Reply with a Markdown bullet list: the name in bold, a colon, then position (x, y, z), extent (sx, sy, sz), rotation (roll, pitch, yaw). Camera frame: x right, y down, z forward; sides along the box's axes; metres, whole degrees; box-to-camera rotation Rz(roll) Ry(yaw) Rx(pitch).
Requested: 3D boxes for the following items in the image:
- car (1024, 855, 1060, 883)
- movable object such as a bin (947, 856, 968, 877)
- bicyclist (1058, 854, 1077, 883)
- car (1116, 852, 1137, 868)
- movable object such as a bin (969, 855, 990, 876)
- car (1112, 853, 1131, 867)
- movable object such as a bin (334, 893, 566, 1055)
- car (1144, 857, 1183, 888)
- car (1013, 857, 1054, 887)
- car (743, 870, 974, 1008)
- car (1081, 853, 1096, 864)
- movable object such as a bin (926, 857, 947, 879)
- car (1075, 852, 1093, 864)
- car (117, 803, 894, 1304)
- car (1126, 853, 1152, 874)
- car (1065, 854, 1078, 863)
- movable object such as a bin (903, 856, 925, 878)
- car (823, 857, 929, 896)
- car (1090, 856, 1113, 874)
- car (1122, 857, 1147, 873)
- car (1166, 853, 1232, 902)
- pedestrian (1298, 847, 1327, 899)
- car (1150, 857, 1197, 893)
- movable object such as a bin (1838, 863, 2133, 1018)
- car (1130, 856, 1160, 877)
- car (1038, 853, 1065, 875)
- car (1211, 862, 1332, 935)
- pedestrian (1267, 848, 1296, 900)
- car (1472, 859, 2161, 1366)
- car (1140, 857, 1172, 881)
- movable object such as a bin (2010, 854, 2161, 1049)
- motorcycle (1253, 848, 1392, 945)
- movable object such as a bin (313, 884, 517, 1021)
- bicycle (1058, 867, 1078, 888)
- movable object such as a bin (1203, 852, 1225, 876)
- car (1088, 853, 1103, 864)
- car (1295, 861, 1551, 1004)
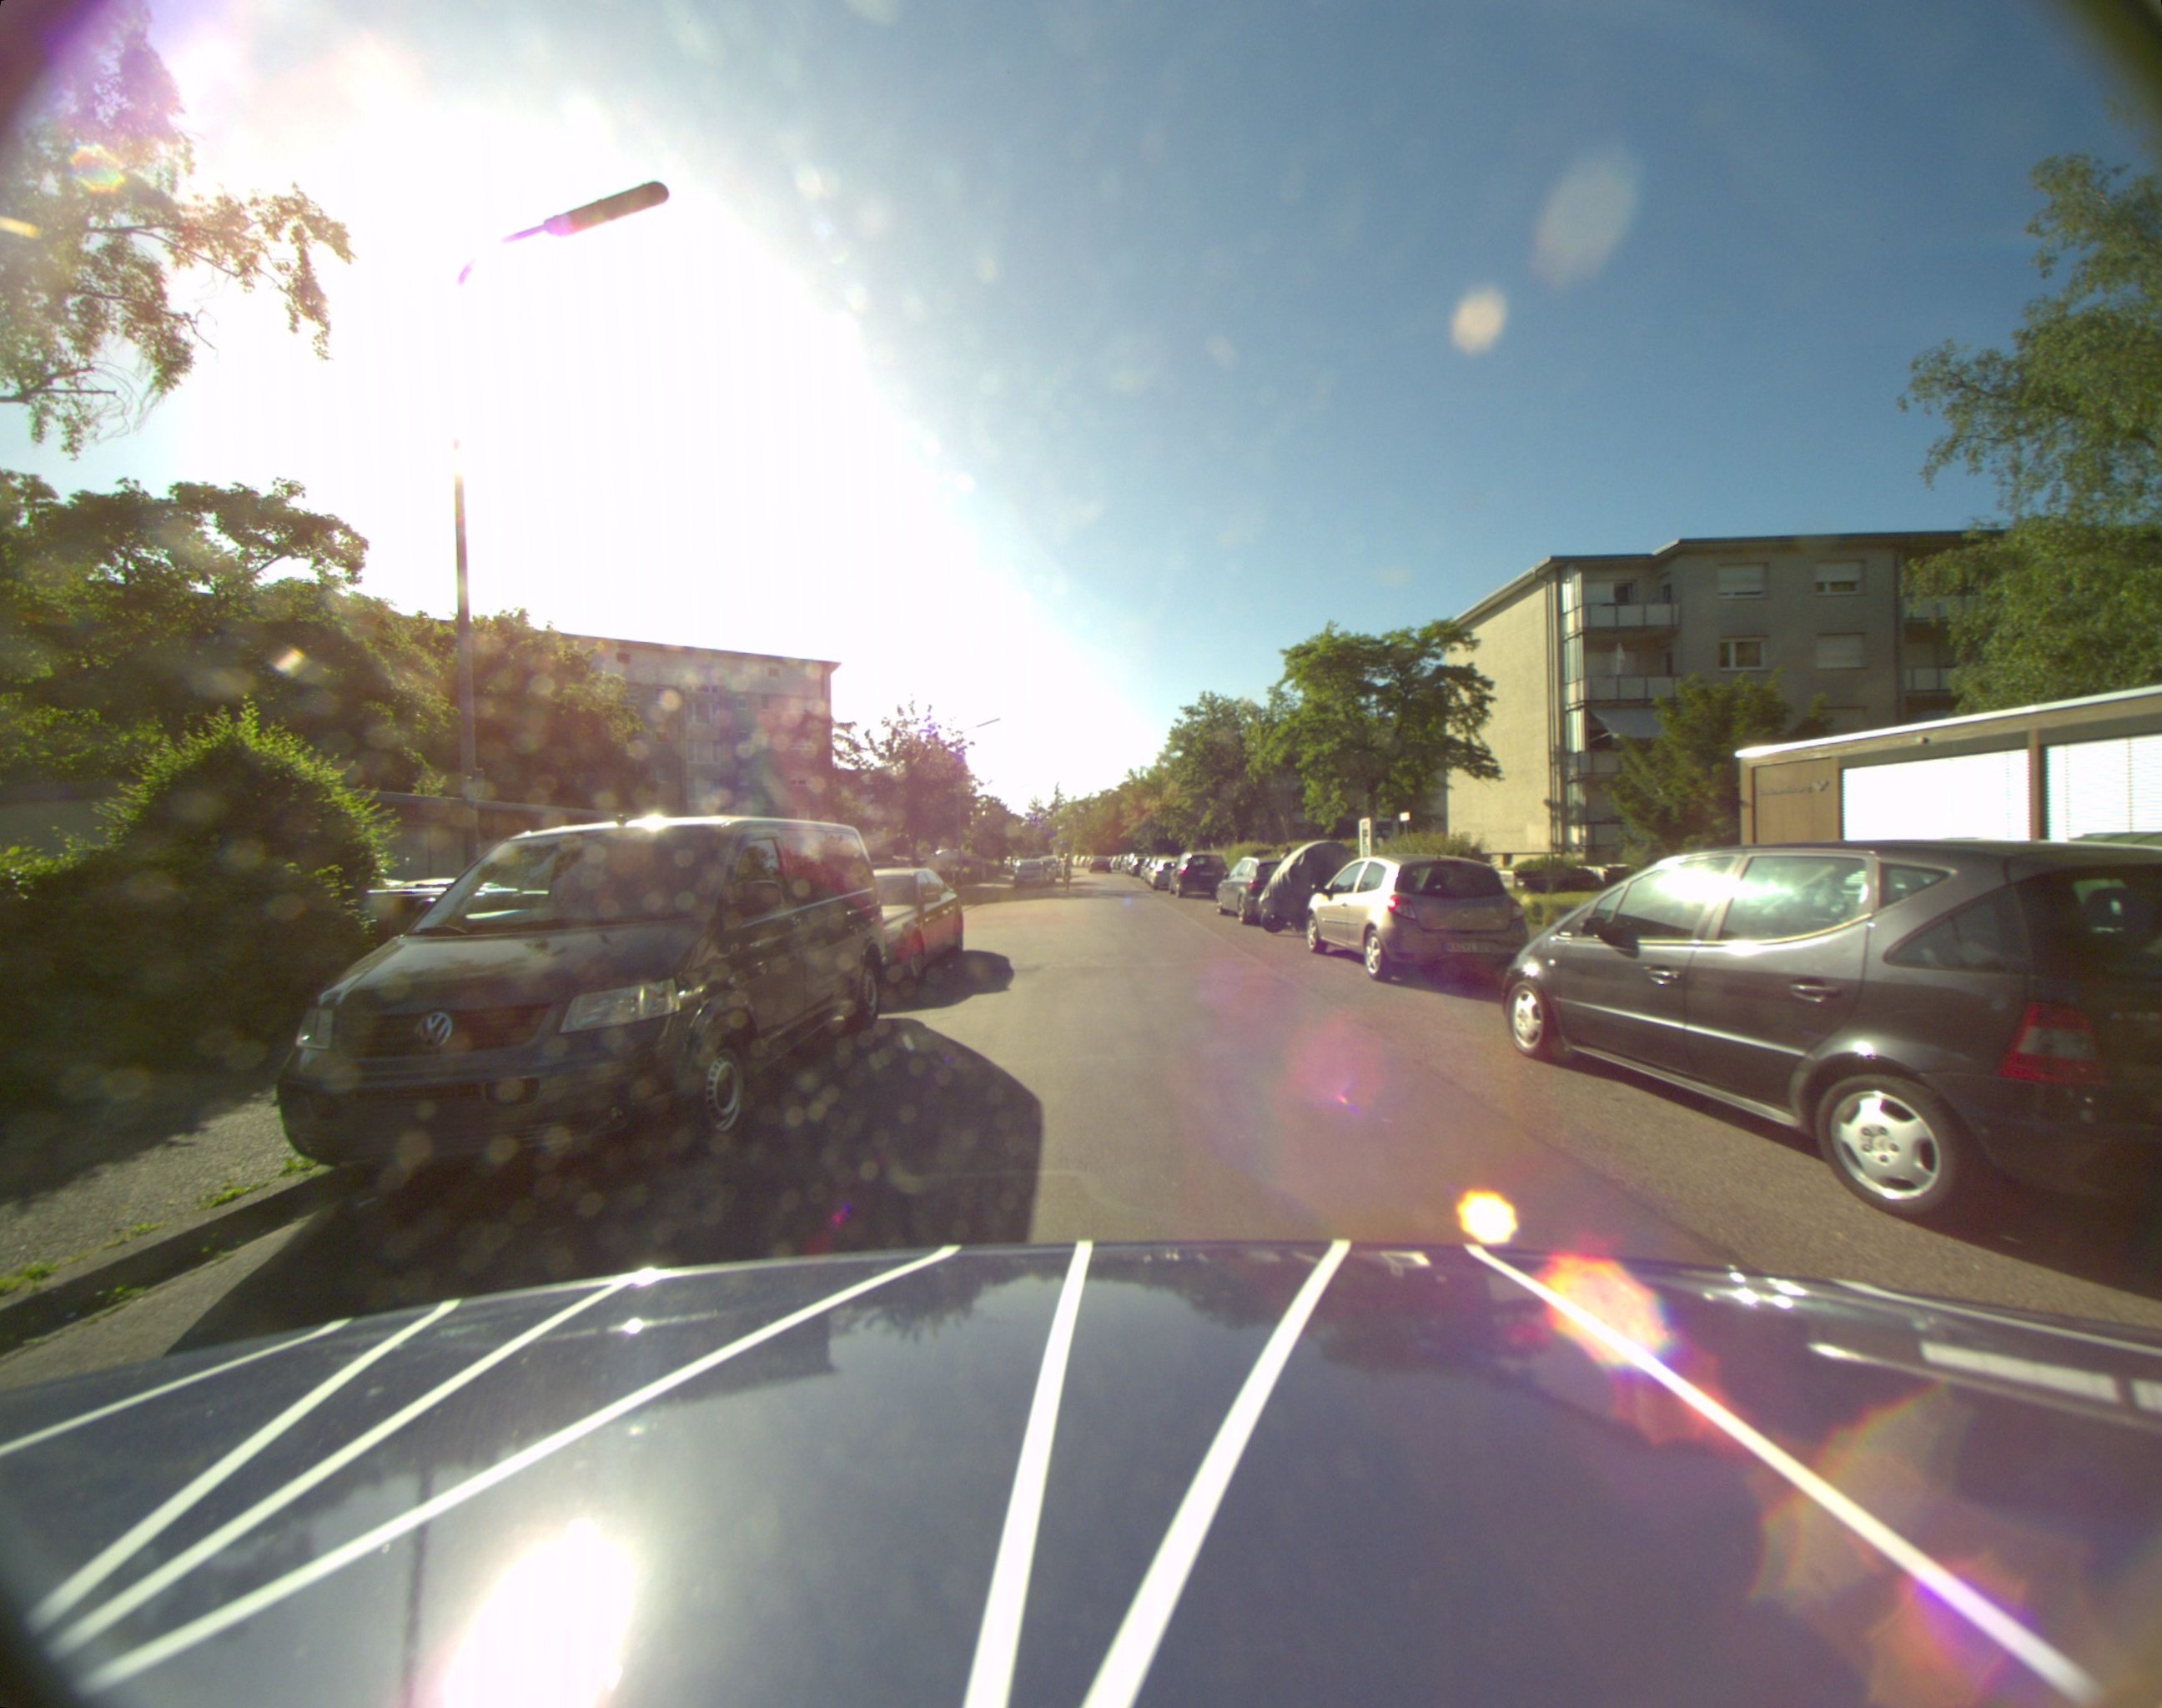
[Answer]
- **car**: position (-2.359, 0.882, 46.904), extent (1.835, 1.537, 4.641), rotation (-2, 0, 2)
- **movable object such as a bin**: position (-8.621, 0.872, 53.019), extent (1.328, 1.423, 1.029), rotation (-2, 0, -5)
- **bicyclist**: position (-0.638, 0.665, 36.283), extent (0.812, 1.348, 1.091), rotation (-2, 0, 2)
- **car**: position (4.672, 0.599, 78.370), extent (1.811, 1.596, 4.431), rotation (0, 0, -2)
- **movable object such as a bin**: position (-7.071, 0.773, 52.995), extent (1.328, 1.419, 1.069), rotation (1, 0, -5)
- **car**: position (4.490, 0.643, 85.480), extent (1.811, 1.470, 3.939), rotation (0, 0, -2)
- **movable object such as a bin**: position (-6.064, 1.089, 7.406), extent (1.028, 1.302, 1.388), rotation (2, 1, 11)
- **car**: position (4.334, 0.940, 40.547), extent (1.758, 1.481, 4.901), rotation (1, 0, 2)
- **car**: position (-2.556, 0.924, 41.569), extent (1.809, 1.486, 3.795), rotation (-2, 0, 2)
- **car**: position (-2.902, 1.031, 11.098), extent (1.805, 1.410, 4.636), rotation (-2, 0, 2)
- **car**: position (1.107, 0.669, 115.490), extent (1.659, 1.621, 3.688), rotation (0, 0, -8)
- **movable object such as a bin**: position (-10.049, 0.966, 52.844), extent (1.328, 1.528, 1.029), rotation (-2, 1, -5)
- **car**: position (0.450, 0.623, 120.872), extent (1.886, 1.857, 5.434), rotation (0, 0, -10)
- **car**: position (-2.878, 0.793, 5.404), extent (1.857, 1.923, 4.704), rotation (-3, 0, 0)
- **car**: position (4.655, 0.734, 61.420), extent (1.759, 1.659, 4.390), rotation (0, 0, 0)
- **car**: position (-1.592, 0.710, 132.788), extent (1.659, 1.558, 3.687), rotation (0, 0, -11)
- **movable object such as a bin**: position (-11.540, 0.904, 52.653), extent (1.326, 1.472, 1.029), rotation (-2, 1, -5)
- **car**: position (-9.017, 0.974, 33.660), extent (4.194, 1.486, 1.817), rotation (-2, 0, -2)
- **car**: position (1.751, 0.943, 67.653), extent (1.915, 1.468, 4.570), rotation (-1, 0, 0)
- **car**: position (4.670, 0.952, 66.864), extent (1.642, 1.377, 4.169), rotation (0, 0, -3)
- **car**: position (4.269, 0.807, 28.067), extent (1.758, 1.626, 4.370), rotation (1, 0, 0)
- **pedestrian**: position (7.499, 0.607, 24.647), extent (0.722, 1.669, 0.600), rotation (-2, 1, 0)
- **car**: position (4.108, 0.904, 34.393), extent (1.758, 1.417, 4.210), rotation (1, 1, 2)
- **movable object such as a bin**: position (8.461, 0.758, 7.217), extent (1.180, 1.280, 1.343), rotation (-2, 0, 1)
- **car**: position (4.630, 0.900, 55.703), extent (1.759, 1.377, 4.673), rotation (0, 1, 0)
- **car**: position (-2.226, 0.765, 59.200), extent (1.758, 1.617, 4.495), rotation (-2, 0, 2)
- **car**: position (4.234, 0.933, 17.568), extent (1.758, 1.412, 4.269), rotation (1, 0, 0)
- **pedestrian**: position (6.522, 0.648, 24.732), extent (0.722, 1.669, 0.616), rotation (-2, 1, 0)
- **car**: position (4.067, 0.840, 4.269), extent (1.759, 1.565, 3.719), rotation (1, 0, -1)
- **car**: position (4.710, 0.919, 48.083), extent (1.653, 1.455, 3.495), rotation (0, 0, 0)
- **movable object such as a bin**: position (8.544, 0.720, 5.824), extent (1.180, 1.400, 1.343), rotation (-2, 0, 1)
- **motorcycle**: position (4.476, 0.771, 14.219), extent (2.262, 1.717, 0.932), rotation (1, 1, -2)
- **movable object such as a bin**: position (-7.335, 1.047, 8.449), extent (1.226, 1.357, 1.133), rotation (-1, 1, 4)
- **bicycle**: position (-0.618, 1.108, 36.668), extent (0.824, 0.896, 2.203), rotation (-2, 0, 2)
- **movable object such as a bin**: position (8.154, 0.605, 46.694), extent (1.004, 1.407, 1.326), rotation (-4, 1, -1)
- **car**: position (2.024, 0.647, 109.022), extent (1.658, 1.621, 4.070), rotation (0, 0, -6)
- **car**: position (4.260, 0.865, 10.212), extent (1.758, 1.472, 3.959), rotation (1, 0, 2)
